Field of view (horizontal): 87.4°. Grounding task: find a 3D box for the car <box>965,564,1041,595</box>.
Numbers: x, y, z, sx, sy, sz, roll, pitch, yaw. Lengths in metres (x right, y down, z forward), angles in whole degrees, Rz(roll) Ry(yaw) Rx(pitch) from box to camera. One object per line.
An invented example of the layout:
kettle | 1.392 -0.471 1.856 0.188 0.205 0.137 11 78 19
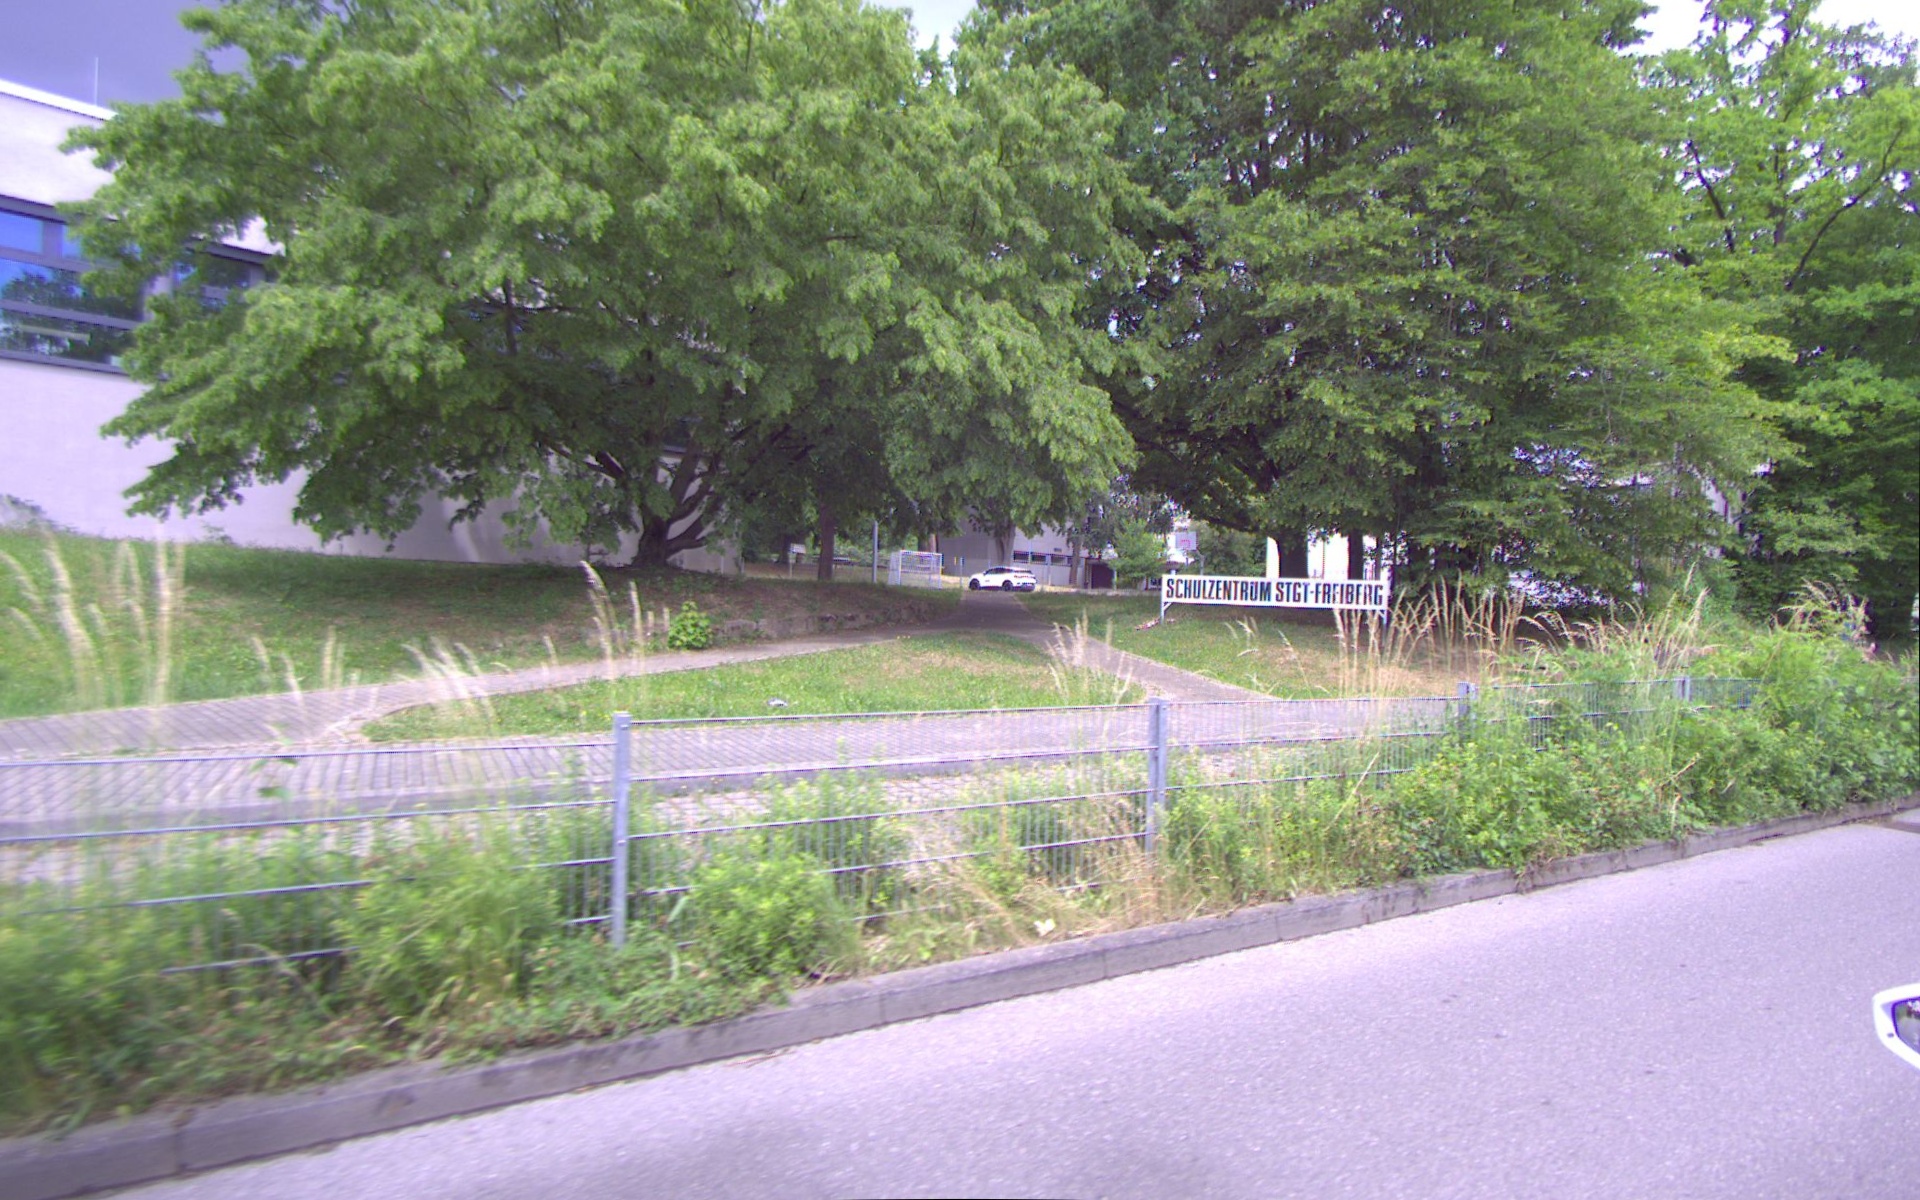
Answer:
car | 2.571 -1.223 60.547 4.386 1.717 1.963 1 0 43

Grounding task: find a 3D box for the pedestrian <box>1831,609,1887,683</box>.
pedestrian | 20.988 1.070 23.442 0.800 1.684 0.756 2 0 -31
